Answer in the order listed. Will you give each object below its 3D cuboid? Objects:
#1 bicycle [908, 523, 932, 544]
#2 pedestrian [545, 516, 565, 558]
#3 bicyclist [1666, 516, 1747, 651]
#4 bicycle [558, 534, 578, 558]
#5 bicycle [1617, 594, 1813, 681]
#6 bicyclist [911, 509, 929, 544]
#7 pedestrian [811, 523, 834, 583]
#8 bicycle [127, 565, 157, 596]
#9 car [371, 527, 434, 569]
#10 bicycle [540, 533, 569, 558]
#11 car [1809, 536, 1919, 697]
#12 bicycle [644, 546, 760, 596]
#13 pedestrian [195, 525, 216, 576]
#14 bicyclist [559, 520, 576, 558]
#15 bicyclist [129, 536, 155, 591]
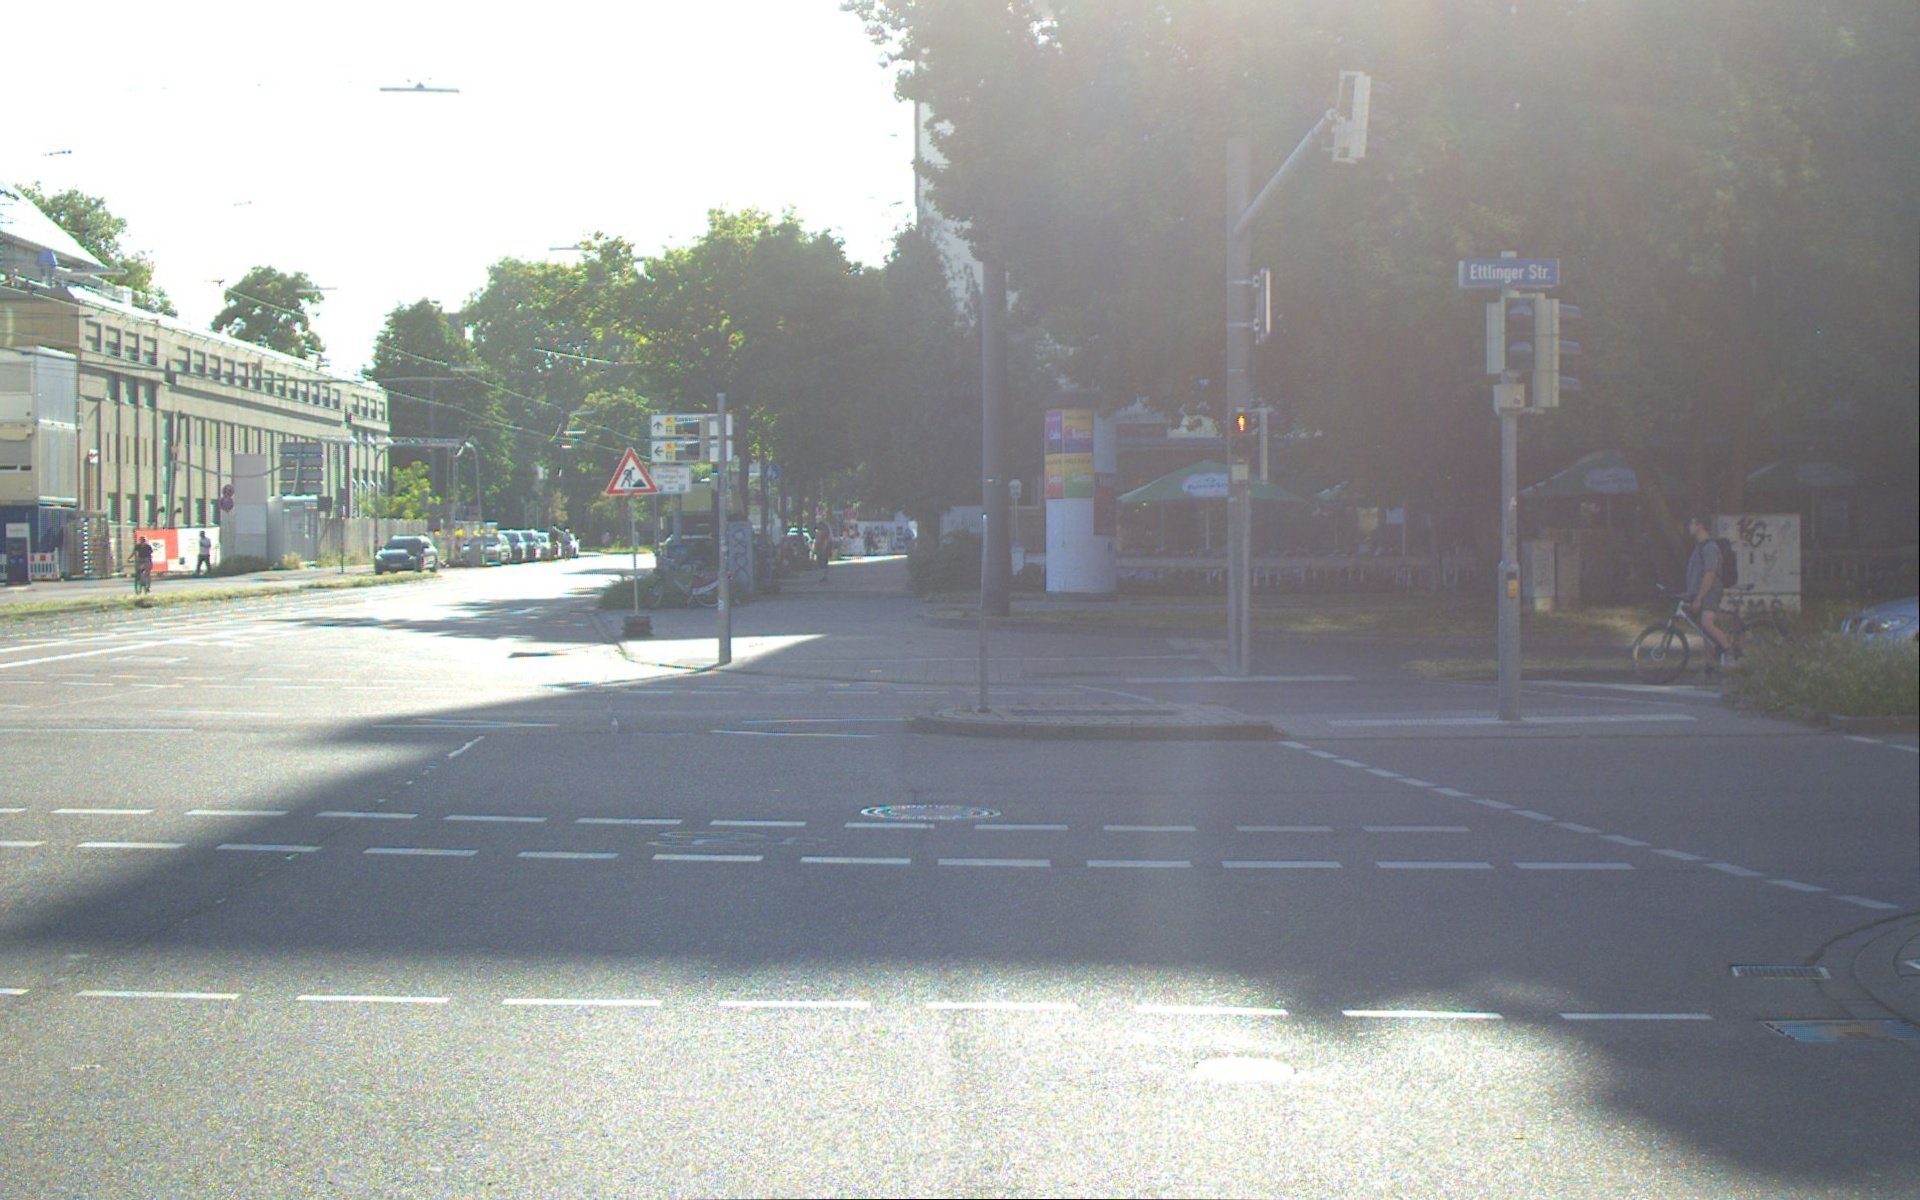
[{"bbox_3d":[-2.339,-3.857,200.383,0.890,1.215,2.794,1,1,-12],"label":"bicycle"},{"bbox_3d":[-19.995,-3.087,169.851,0.751,2.056,1.050,1,0,5],"label":"pedestrian"},{"bbox_3d":[7.890,-0.176,36.364,0.747,1.401,0.702,1,0,6],"label":"bicyclist"},{"bbox_3d":[-19.985,-2.754,175.240,0.750,1.201,3.108,1,1,-2],"label":"bicycle"},{"bbox_3d":[7.971,0.387,36.365,1.944,0.886,0.718,1,0,6],"label":"bicycle"},{"bbox_3d":[-2.328,-4.271,200.398,0.890,2.007,0.749,1,0,-12],"label":"bicyclist"},{"bbox_3d":[-3.895,-1.344,97.525,0.576,1.683,0.585,-1,1,-8],"label":"pedestrian"},{"bbox_3d":[-22.309,-0.541,93.792,0.494,0.836,1.156,-1,1,2],"label":"bicycle"},{"bbox_3d":[-22.027,-2.074,135.943,1.993,1.593,4.001,-1,1,-3],"label":"car"},{"bbox_3d":[-20.021,-2.663,169.790,0.751,1.201,3.107,1,1,5],"label":"bicycle"},{"bbox_3d":[10.835,0.173,33.558,4.576,1.511,2.000,1,0,0],"label":"car"},{"bbox_3d":[-5.039,-0.572,67.212,2.244,0.937,0.654,-1,1,-5],"label":"bicycle"},{"bbox_3d":[-28.212,-1.847,128.511,0.588,1.883,0.478,1,0,15],"label":"pedestrian"},{"bbox_3d":[-19.996,-3.126,175.116,0.750,1.913,1.215,1,0,-2],"label":"bicyclist"},{"bbox_3d":[-22.315,-0.991,93.779,0.494,1.493,0.666,-1,1,2],"label":"bicyclist"}]
